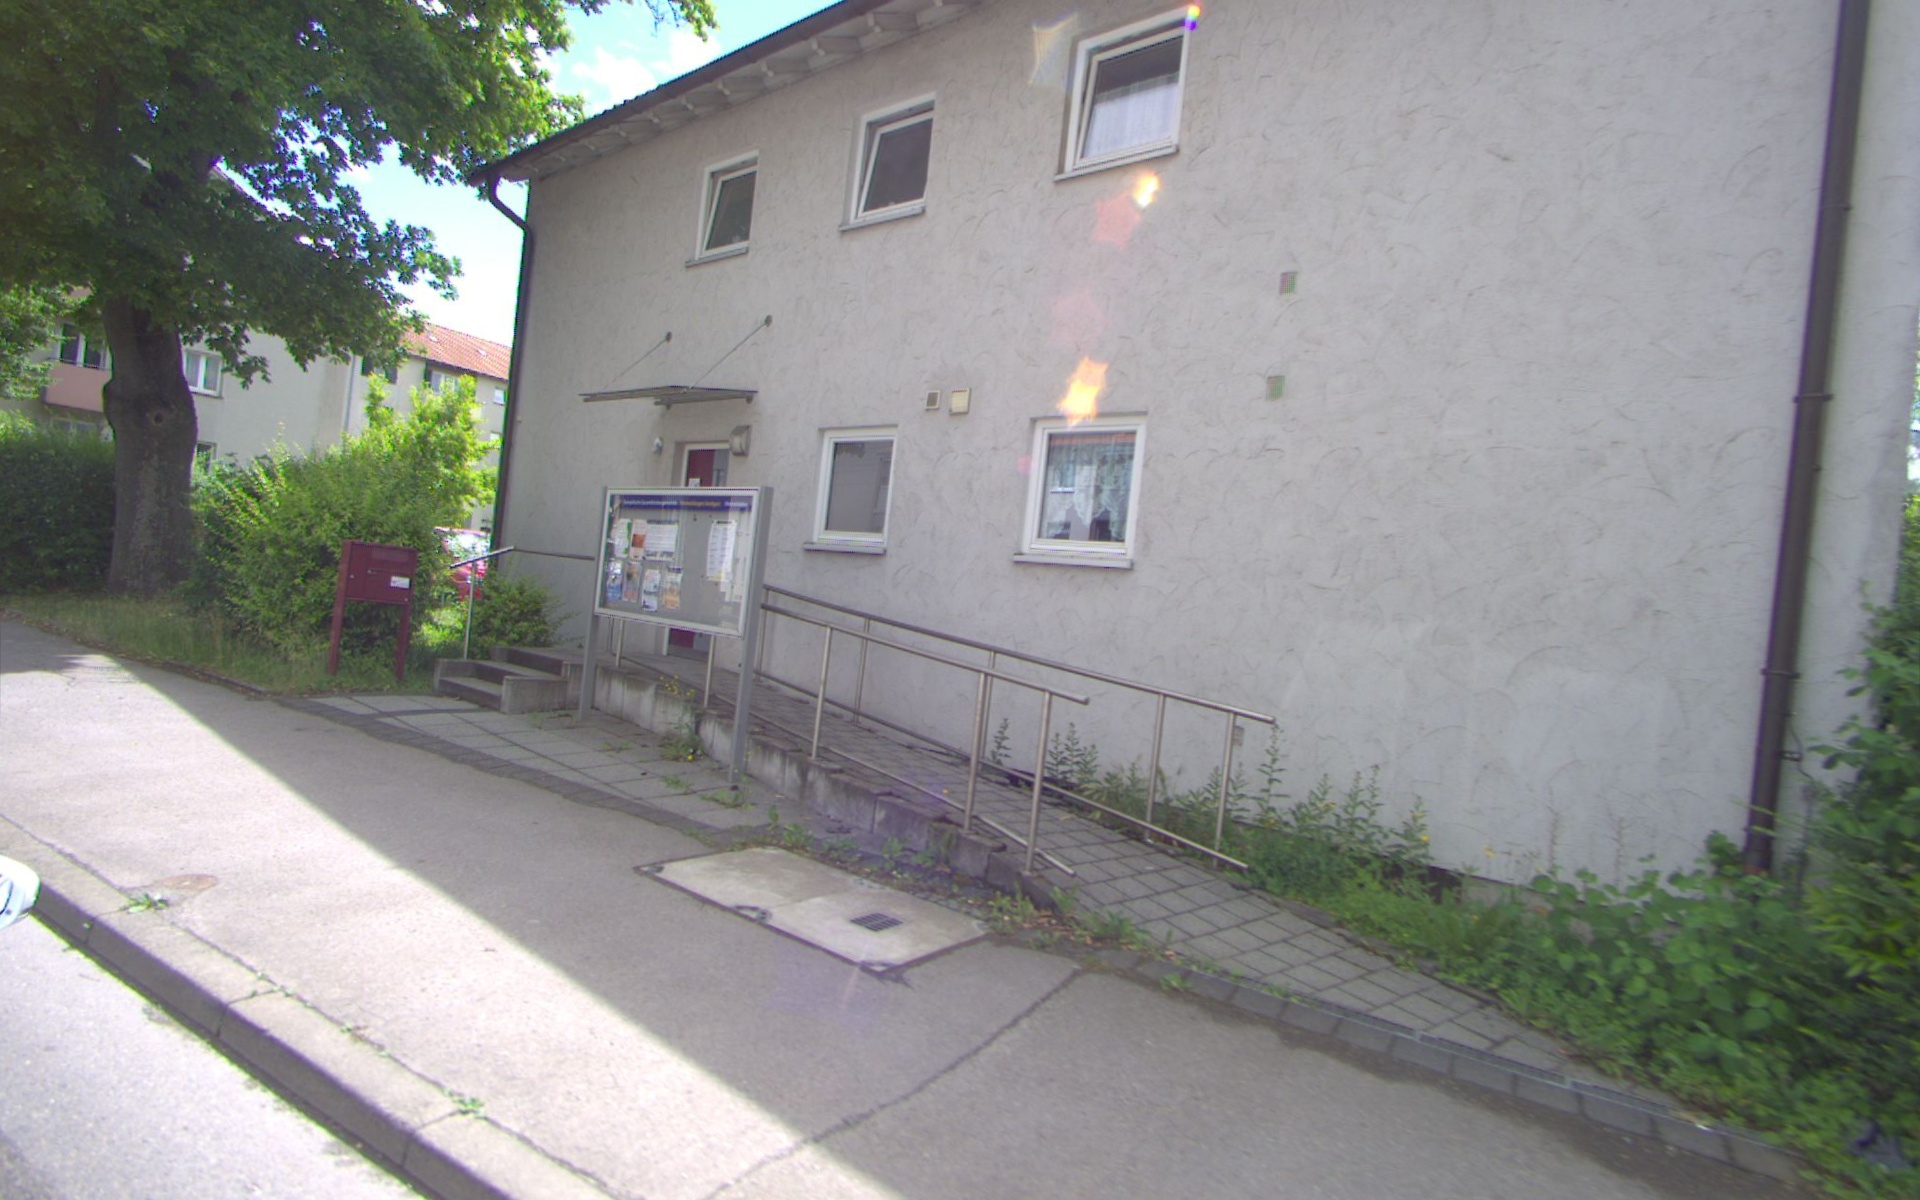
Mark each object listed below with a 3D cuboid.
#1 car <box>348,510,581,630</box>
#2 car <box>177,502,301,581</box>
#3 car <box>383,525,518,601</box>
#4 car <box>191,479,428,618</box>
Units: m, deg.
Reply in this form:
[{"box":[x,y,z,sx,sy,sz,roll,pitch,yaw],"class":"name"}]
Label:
[{"box":[-8.438,-0.533,17.019,3.938,1.603,1.812,6,0,36],"class":"car"},{"box":[-16.888,-1.388,23.513,3.643,1.499,1.659,7,1,44],"class":"car"},{"box":[-13.997,-1.033,27.541,4.049,1.627,1.795,7,0,41],"class":"car"},{"box":[-9.724,-0.799,14.924,3.943,1.670,1.809,6,0,41],"class":"car"}]
